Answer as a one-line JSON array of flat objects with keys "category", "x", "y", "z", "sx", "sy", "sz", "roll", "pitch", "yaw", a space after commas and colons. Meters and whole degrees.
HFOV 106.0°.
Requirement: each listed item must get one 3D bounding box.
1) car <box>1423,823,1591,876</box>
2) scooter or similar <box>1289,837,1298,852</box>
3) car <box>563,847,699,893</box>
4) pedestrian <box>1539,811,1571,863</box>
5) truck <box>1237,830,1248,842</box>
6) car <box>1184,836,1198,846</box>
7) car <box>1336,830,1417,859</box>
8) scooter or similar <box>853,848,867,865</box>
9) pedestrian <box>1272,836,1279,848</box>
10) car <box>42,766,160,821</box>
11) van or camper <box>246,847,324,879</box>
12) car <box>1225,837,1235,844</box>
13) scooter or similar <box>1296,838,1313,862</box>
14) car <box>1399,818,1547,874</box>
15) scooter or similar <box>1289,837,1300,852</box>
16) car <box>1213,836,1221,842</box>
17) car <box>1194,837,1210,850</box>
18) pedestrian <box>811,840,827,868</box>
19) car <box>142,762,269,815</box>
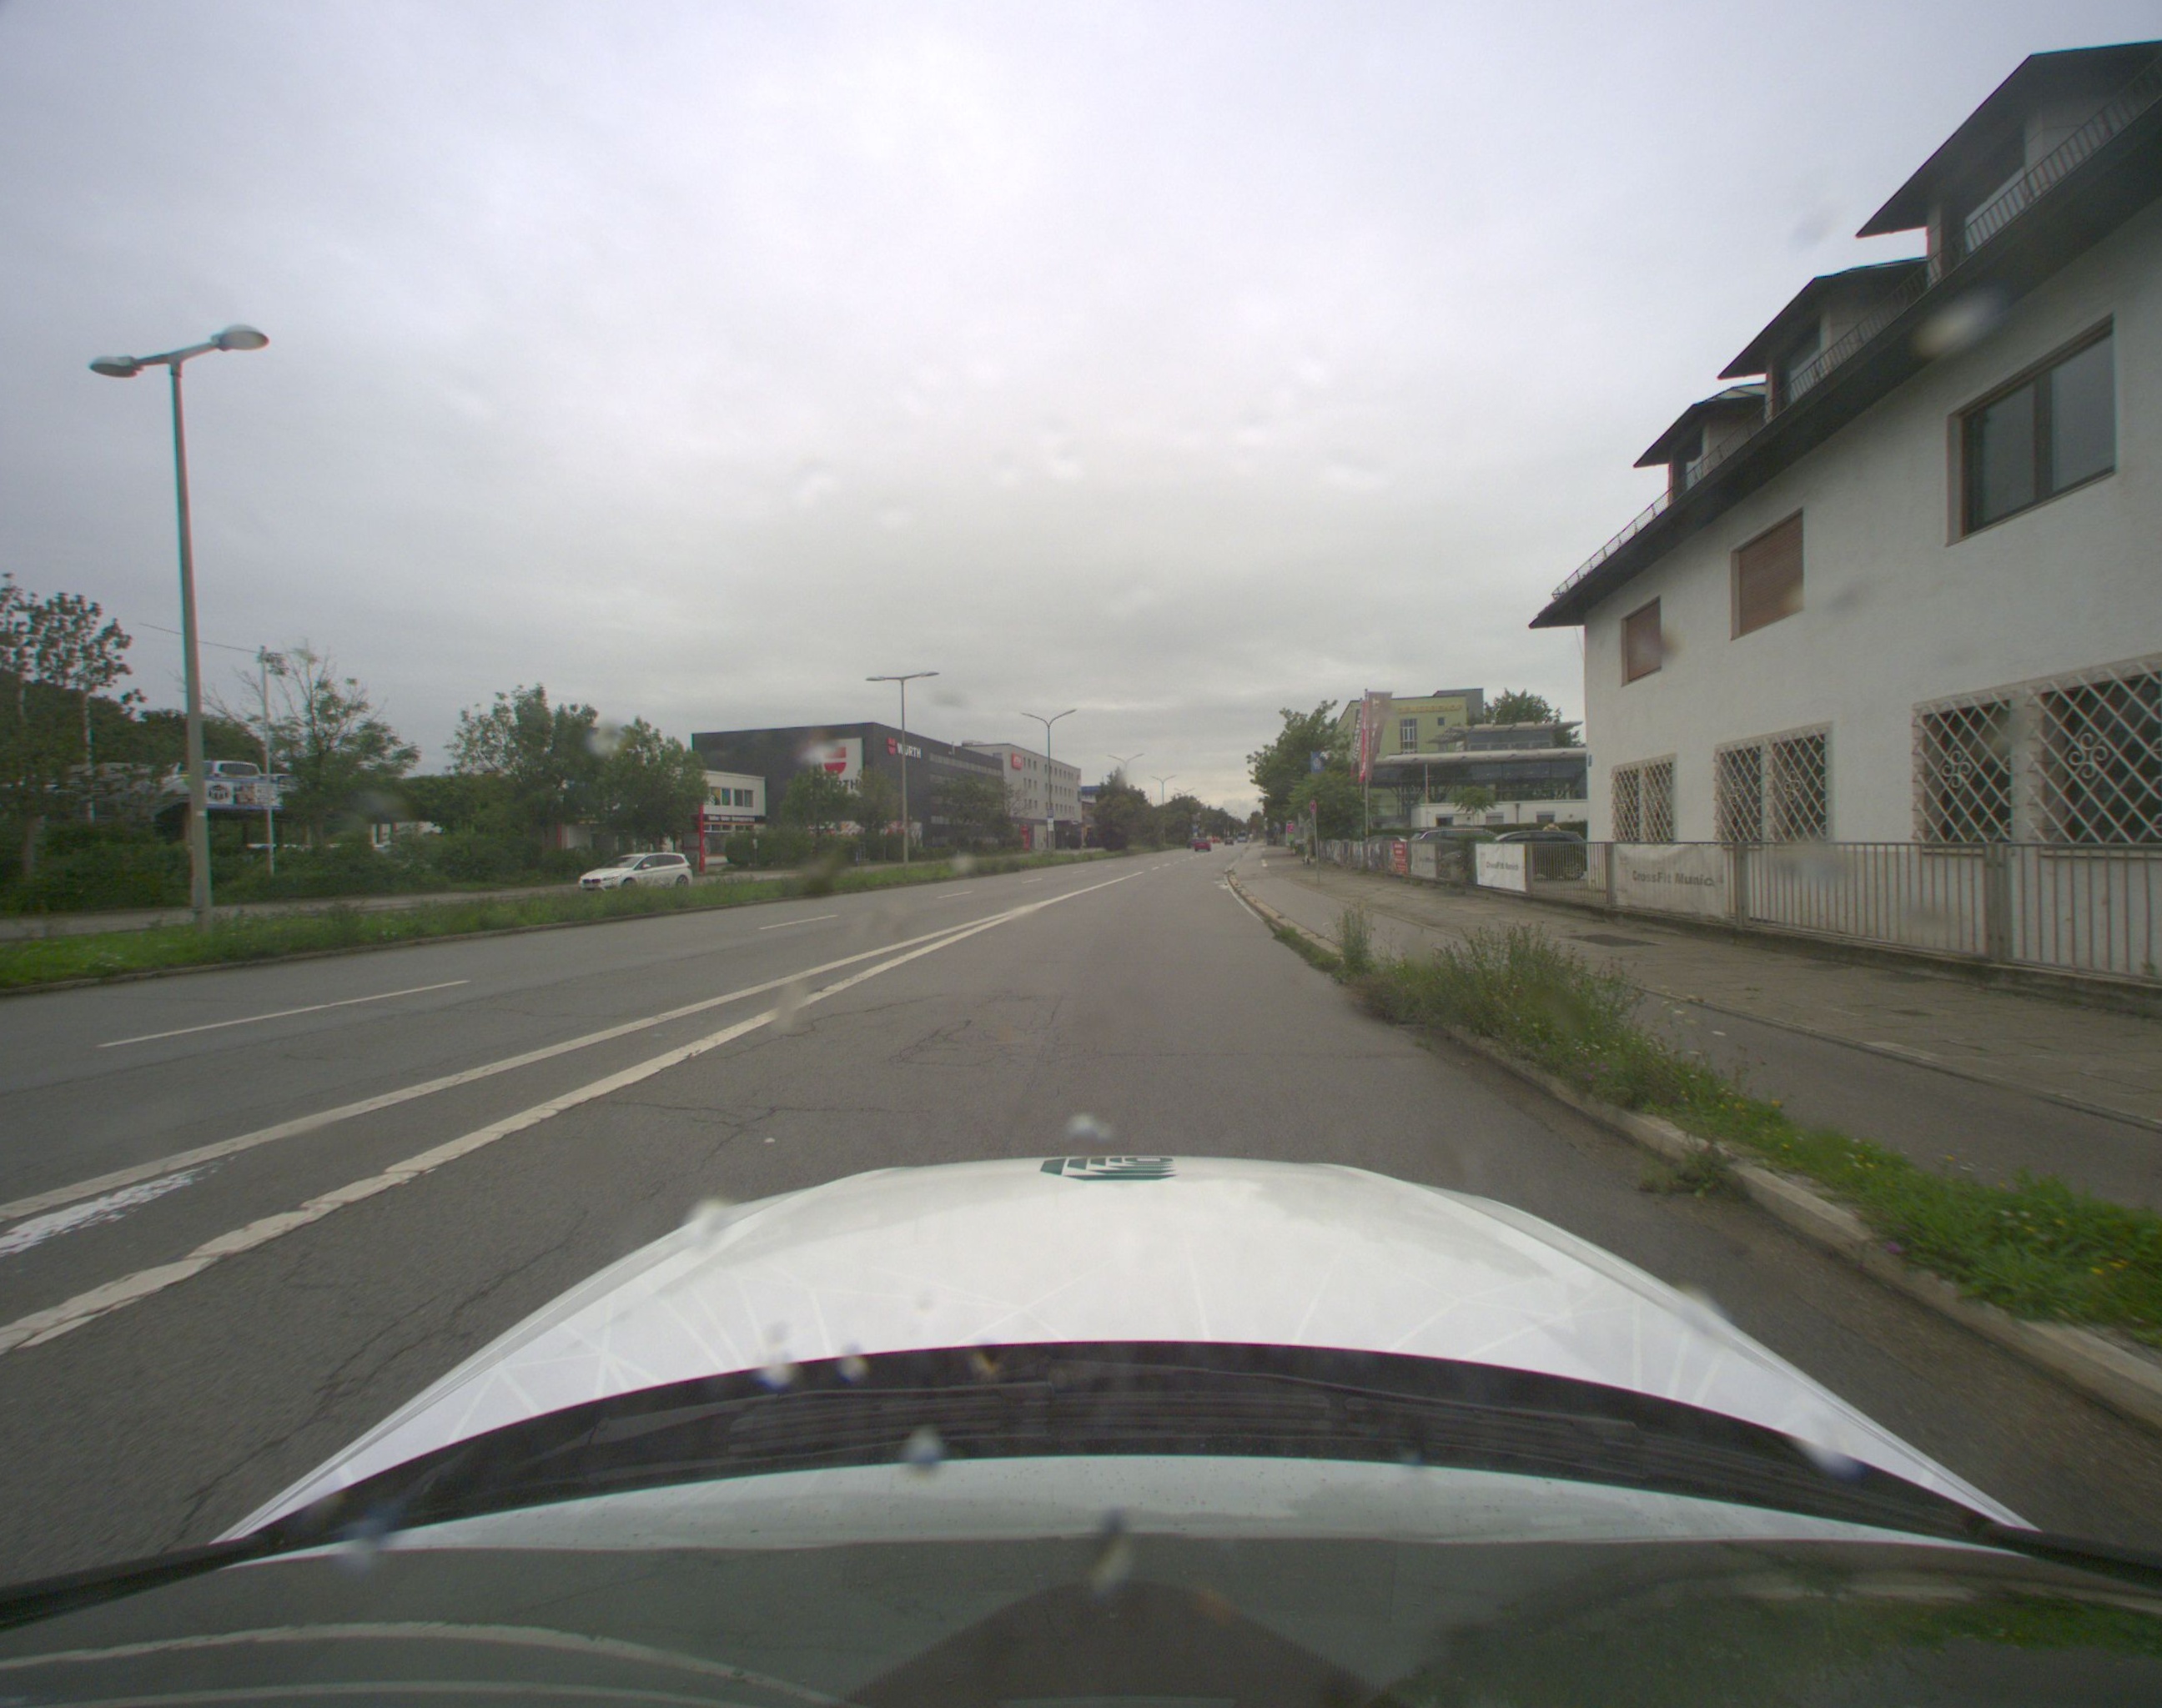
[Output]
[{"category": "car", "x": 12.568, "y": -0.135, "z": 24.297, "sx": 4.070, "sy": 1.450, "sz": 1.933, "roll": -1, "pitch": 1, "yaw": 10}, {"category": "scooter or similar", "x": 17.502, "y": -0.782, "z": 67.114, "sx": 0.493, "sy": 1.204, "sz": 1.434, "roll": -4, "pitch": 1, "yaw": 10}, {"category": "car", "x": -17.161, "y": 0.552, "z": 31.381, "sx": 1.980, "sy": 1.572, "sz": 4.591, "roll": -2, "pitch": 0, "yaw": 13}, {"category": "pedestrian", "x": 17.787, "y": -0.622, "z": 30.580, "sx": 0.729, "sy": 1.901, "sz": 0.934, "roll": -1, "pitch": 1, "yaw": 8}, {"category": "truck", "x": 45.695, "y": -5.077, "z": 230.498, "sx": 2.950, "sy": 3.285, "sz": 7.941, "roll": -1, "pitch": 1, "yaw": 11}, {"category": "car", "x": 16.673, "y": -1.947, "z": 123.014, "sx": 1.791, "sy": 1.432, "sz": 4.013, "roll": -2, "pitch": 1, "yaw": 11}, {"category": "car", "x": 16.241, "y": -0.548, "z": 44.899, "sx": 3.986, "sy": 1.460, "sz": 1.799, "roll": -2, "pitch": 1, "yaw": 12}, {"category": "scooter or similar", "x": -16.608, "y": 0.201, "z": 61.160, "sx": 0.442, "sy": 1.227, "sz": 1.392, "roll": -1, "pitch": 1, "yaw": 11}, {"category": "pedestrian", "x": 27.730, "y": -1.729, "z": 116.125, "sx": 0.753, "sy": 1.728, "sz": 0.898, "roll": -5, "pitch": 0, "yaw": 11}, {"category": "car", "x": -52.611, "y": -3.211, "z": 43.743, "sx": 4.749, "sy": 2.370, "sz": 2.142, "roll": -4, "pitch": -2, "yaw": 13}, {"category": "van or camper", "x": -68.657, "y": 0.749, "z": 70.255, "sx": 4.983, "sy": 2.575, "sz": 2.004, "roll": -1, "pitch": 1, "yaw": 6}, {"category": "car", "x": 31.033, "y": -2.905, "z": 169.632, "sx": 1.791, "sy": 1.432, "sz": 4.013, "roll": -1, "pitch": 1, "yaw": 11}, {"category": "scooter or similar", "x": 12.141, "y": -0.215, "z": 44.291, "sx": 0.395, "sy": 1.223, "sz": 1.639, "roll": -4, "pitch": 0, "yaw": 0}, {"category": "car", "x": 12.938, "y": -0.265, "z": 27.094, "sx": 4.070, "sy": 1.726, "sz": 1.933, "roll": -1, "pitch": 1, "yaw": 10}, {"category": "scooter or similar", "x": 17.032, "y": -0.758, "z": 64.891, "sx": 0.494, "sy": 1.204, "sz": 1.431, "roll": -4, "pitch": 0, "yaw": 3}, {"category": "car", "x": 35.526, "y": -3.902, "z": 212.920, "sx": 1.791, "sy": 1.432, "sz": 4.013, "roll": -1, "pitch": 1, "yaw": 11}, {"category": "car", "x": 15.198, "y": -1.350, "z": 102.417, "sx": 1.851, "sy": 1.618, "sz": 4.011, "roll": -1, "pitch": 1, "yaw": 10}, {"category": "pedestrian", "x": -17.467, "y": 0.010, "z": 54.332, "sx": 0.618, "sy": 1.830, "sz": 0.820, "roll": -1, "pitch": 1, "yaw": 13}, {"category": "car", "x": -42.950, "y": -3.179, "z": 39.996, "sx": 4.749, "sy": 2.014, "sz": 2.142, "roll": -4, "pitch": -2, "yaw": 13}]
